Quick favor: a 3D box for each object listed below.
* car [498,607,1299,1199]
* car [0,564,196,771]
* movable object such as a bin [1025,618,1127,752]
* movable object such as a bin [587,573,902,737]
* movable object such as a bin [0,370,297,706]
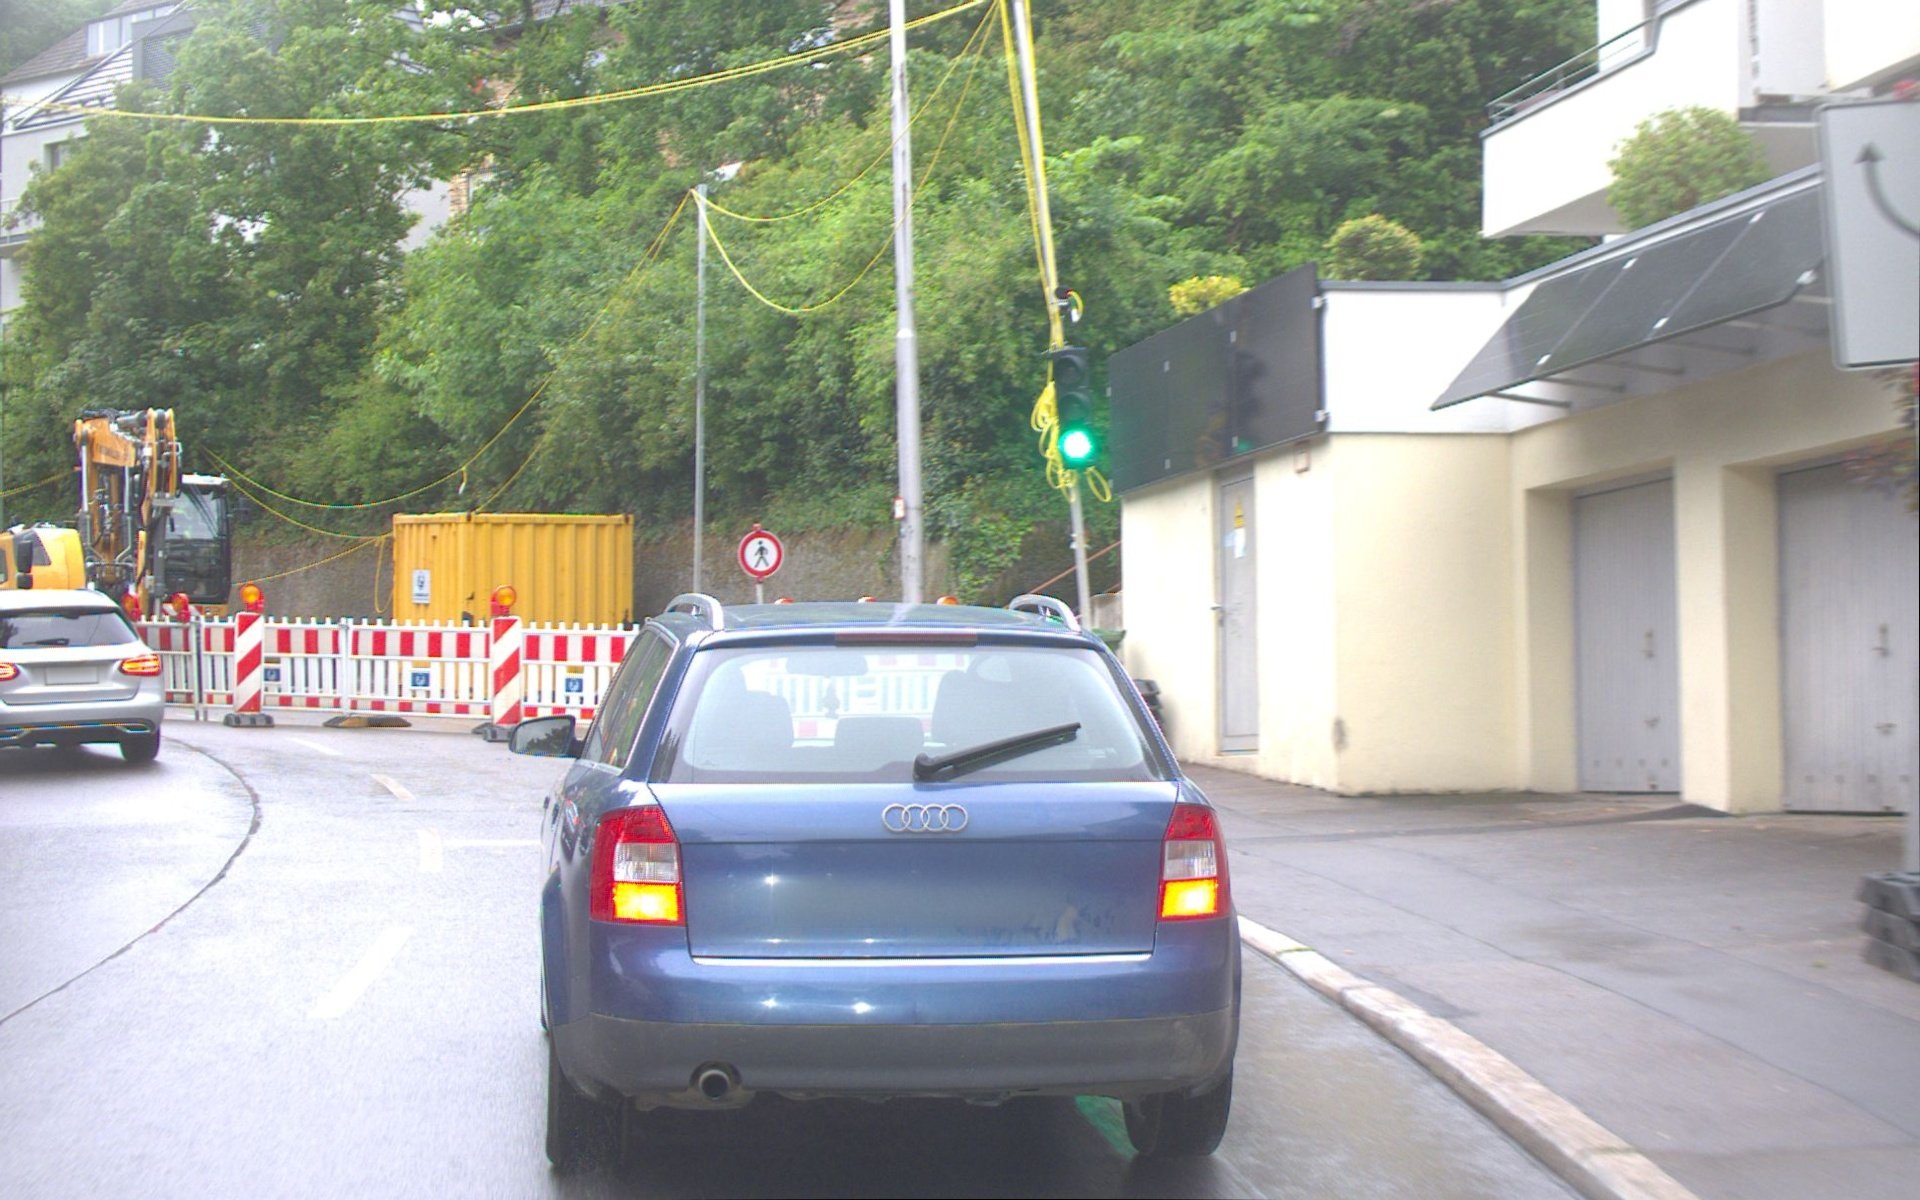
[{"bbox_3d":[-0.348,0.771,9.689,1.785,1.437,3.964,-1,0,-6],"label":"car"},{"bbox_3d":[-8.068,0.510,29.389,1.926,1.612,4.321,-1,1,-28],"label":"car"},{"bbox_3d":[0.918,0.667,27.272,0.719,1.028,0.592,-1,0,-5],"label":"movable object such as a bin"},{"bbox_3d":[-2.255,0.509,34.940,1.993,1.514,4.001,0,1,-23],"label":"movable object such as a bin"},{"bbox_3d":[-10.848,-0.810,44.804,2.819,4.000,7.328,-1,1,-23],"label":"movable object such as a bin"}]
